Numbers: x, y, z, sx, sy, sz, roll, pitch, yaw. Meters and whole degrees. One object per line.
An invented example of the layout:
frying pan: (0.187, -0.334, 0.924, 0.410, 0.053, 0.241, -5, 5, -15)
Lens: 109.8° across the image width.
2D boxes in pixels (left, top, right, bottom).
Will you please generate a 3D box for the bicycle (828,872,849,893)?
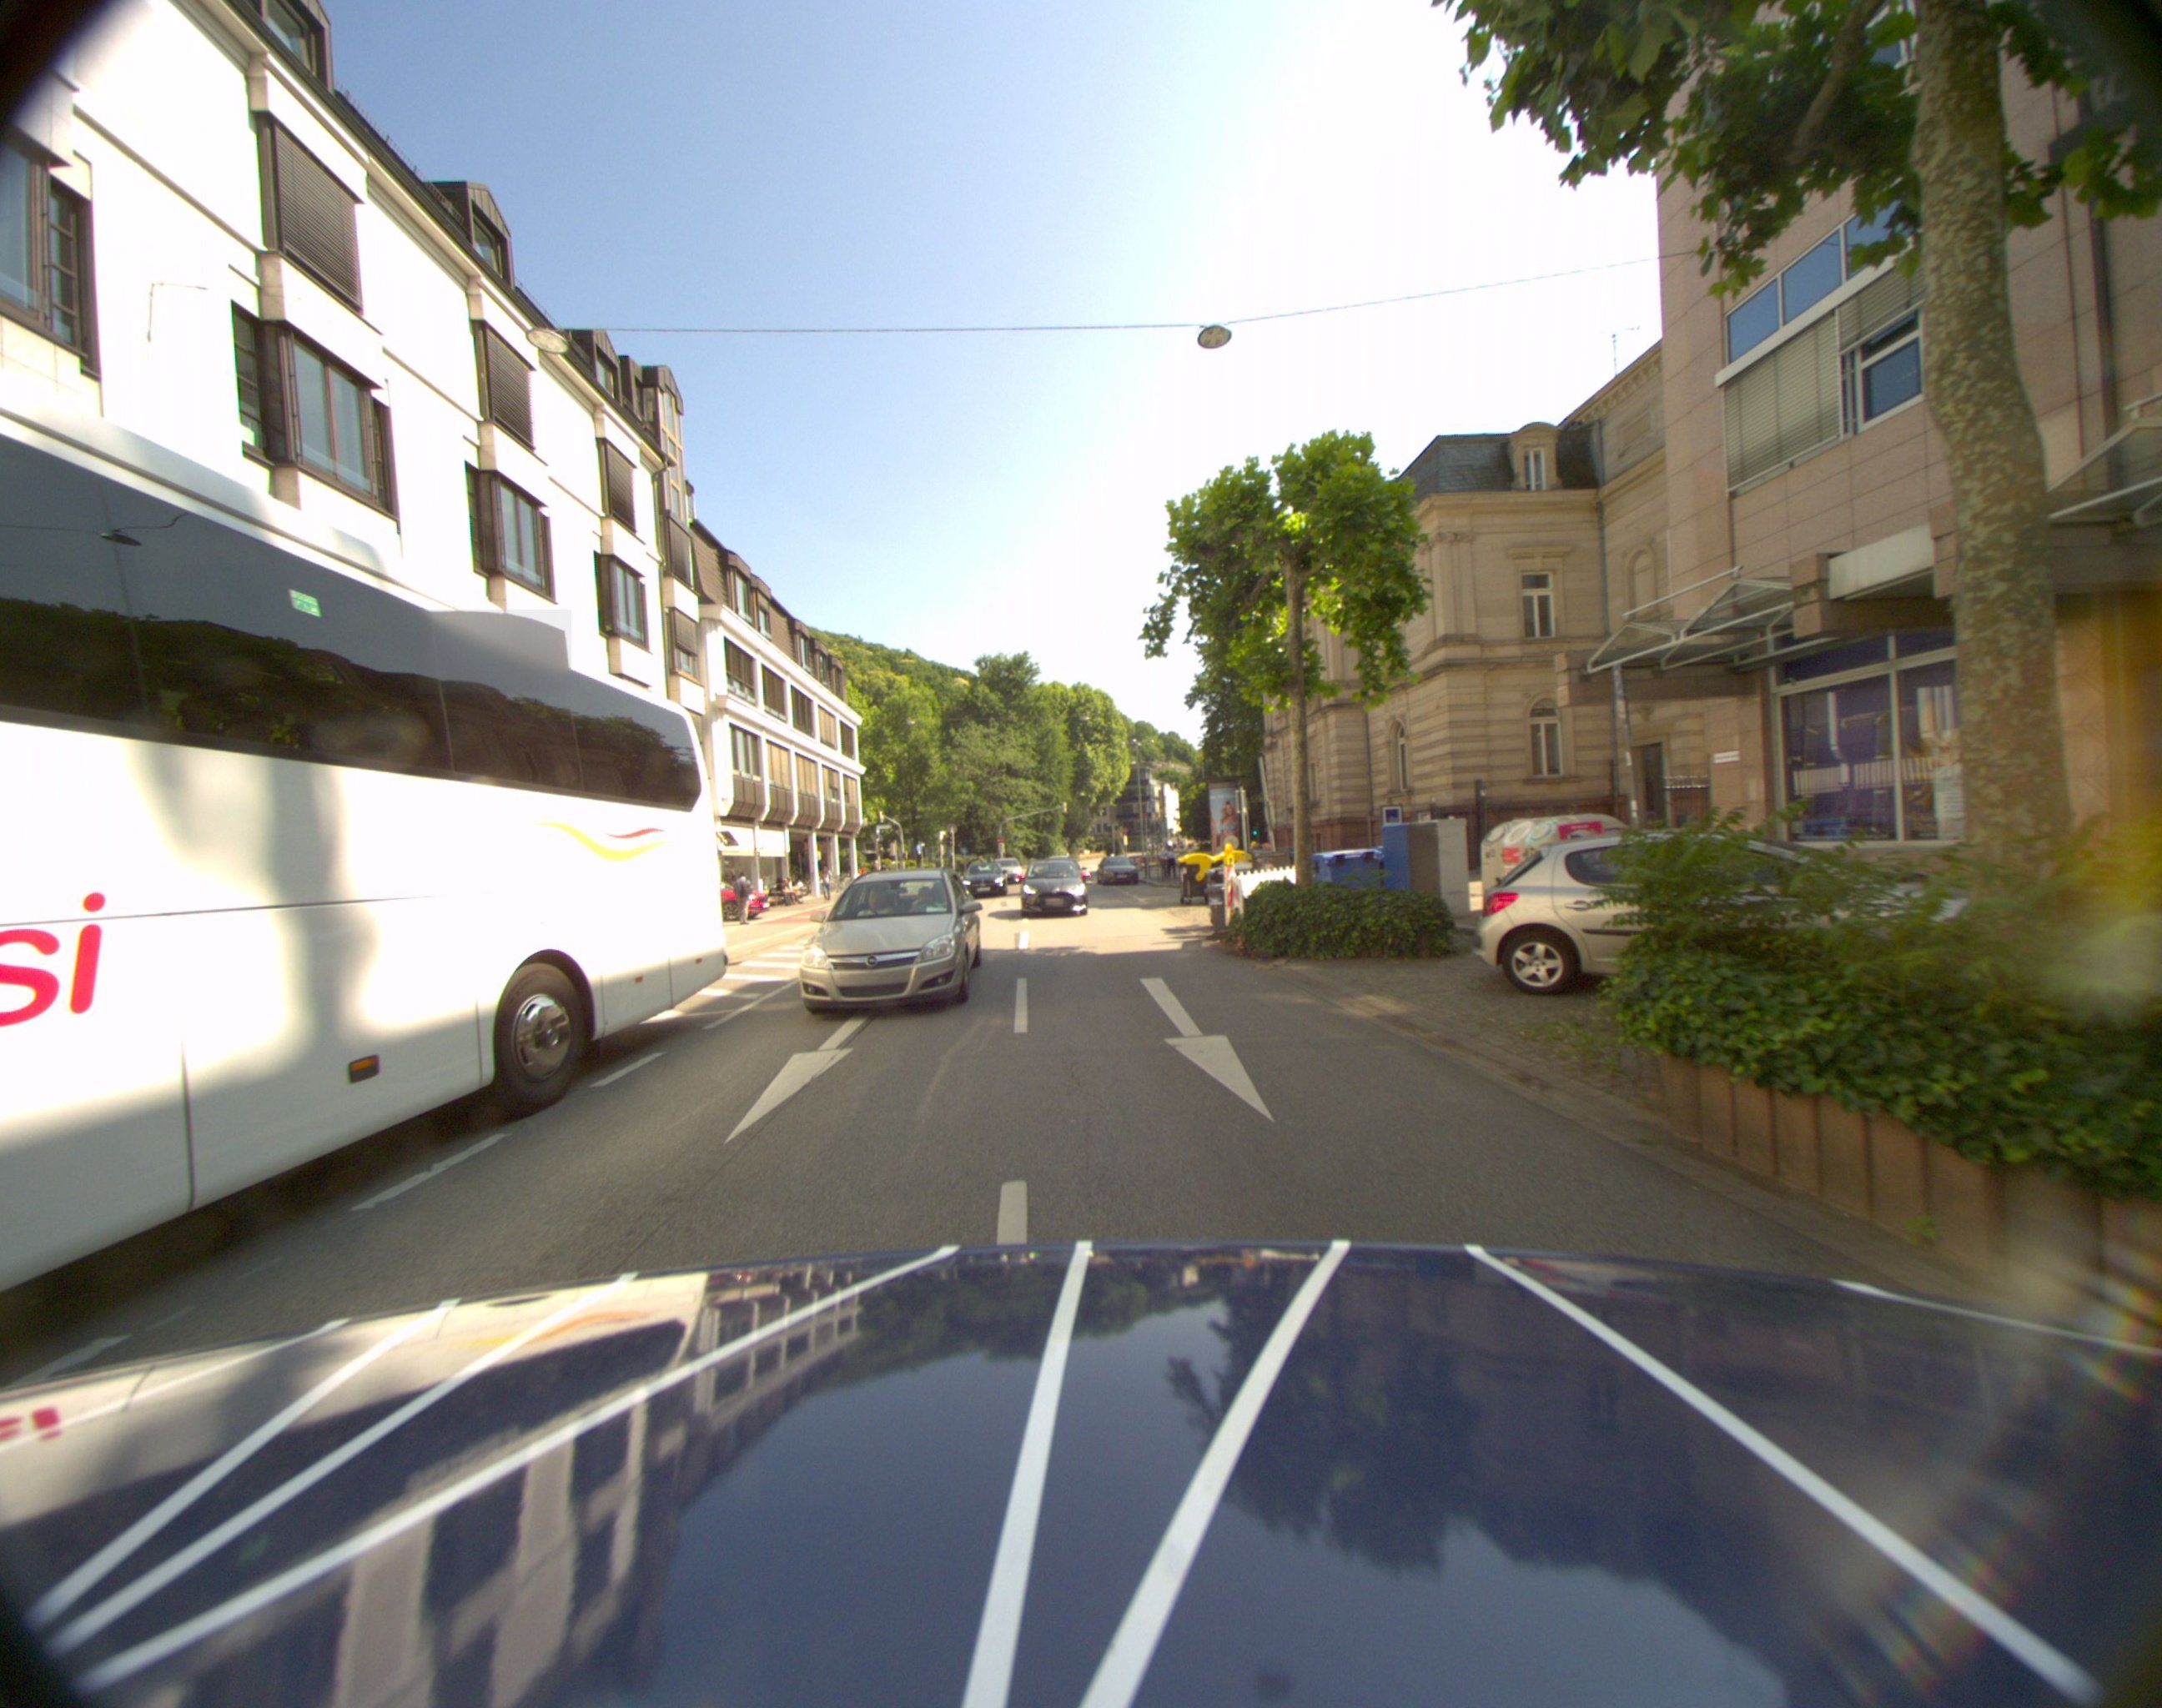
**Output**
bicycle: (-14.440, 1.696, 45.291, 0.277, 1.114, 2.244, -3, 0, 5)

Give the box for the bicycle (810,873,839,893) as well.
bicycle: (-14.806, 1.675, 43.827, 1.574, 1.114, 0.277, -2, 1, 4)

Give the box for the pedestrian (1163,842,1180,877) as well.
pedestrian: (4.482, 0.265, 37.644, 0.696, 1.686, 0.690, -3, 2, -1)

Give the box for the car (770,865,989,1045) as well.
car: (-2.174, 0.988, 9.429, 1.712, 1.513, 4.405, -4, 0, -4)

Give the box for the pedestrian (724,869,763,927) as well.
pedestrian: (-10.370, 1.342, 23.378, 0.696, 1.676, 0.835, -3, 1, 6)

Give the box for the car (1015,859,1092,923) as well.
car: (-0.841, 0.930, 20.840, 1.811, 1.443, 3.951, -3, 1, -6)

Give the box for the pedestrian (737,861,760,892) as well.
pedestrian: (-15.972, 1.074, 36.490, 0.713, 1.389, 0.696, -3, 2, -4)

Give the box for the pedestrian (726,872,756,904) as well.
pedestrian: (-15.947, 1.579, 35.650, 0.898, 1.343, 1.104, -3, 2, -4)

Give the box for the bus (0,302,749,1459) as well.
bus: (-4.893, 0.121, 2.185, 2.890, 3.720, 12.421, -5, 0, -4)

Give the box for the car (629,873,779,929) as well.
car: (-12.673, 1.565, 25.772, 4.055, 1.486, 1.840, -3, 3, -2)

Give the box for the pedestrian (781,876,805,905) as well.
pedestrian: (-12.941, 1.631, 34.185, 0.713, 1.210, 0.697, -3, 2, 5)

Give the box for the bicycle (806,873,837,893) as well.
bicycle: (-15.147, 1.677, 44.337, 1.720, 1.114, 0.277, -2, 1, 4)

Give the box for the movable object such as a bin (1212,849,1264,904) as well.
movable object such as a bin: (4.518, 0.635, 22.009, 1.126, 1.442, 1.439, -5, 0, 3)

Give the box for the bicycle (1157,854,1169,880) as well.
bicycle: (4.029, 0.604, 37.228, 0.430, 1.114, 2.243, -5, 2, 8)

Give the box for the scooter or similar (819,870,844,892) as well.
scooter or similar: (-15.389, 1.662, 46.853, 1.249, 1.225, 0.480, -4, 1, 3)

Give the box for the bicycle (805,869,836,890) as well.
bicycle: (-17.567, 1.748, 51.301, 1.862, 1.309, 0.529, -3, 0, -42)

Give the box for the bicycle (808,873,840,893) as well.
bicycle: (-15.126, 1.685, 44.733, 1.720, 1.114, 0.277, -2, 1, 4)

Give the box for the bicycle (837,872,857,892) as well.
bicycle: (-14.029, 1.662, 45.550, 0.277, 1.114, 2.244, -3, 0, 5)

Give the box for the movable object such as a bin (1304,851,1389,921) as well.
movable object such as a bin: (5.422, 0.646, 15.608, 1.212, 1.292, 1.079, -5, 0, -3)

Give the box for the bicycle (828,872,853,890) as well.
bicycle: (-15.159, 1.722, 47.903, 0.376, 1.059, 1.474, -1, 1, 43)

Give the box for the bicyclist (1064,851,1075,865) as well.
bicyclist: (-1.364, 0.487, 91.623, 0.866, 1.566, 0.945, -2, 3, 30)

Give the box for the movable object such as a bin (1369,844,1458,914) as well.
movable object such as a bin: (6.817, 0.502, 15.640, 1.212, 1.292, 1.127, -5, 0, -3)

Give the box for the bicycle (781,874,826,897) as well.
bicycle: (-15.389, 1.735, 42.140, 2.244, 1.090, 0.277, -4, 1, -16)

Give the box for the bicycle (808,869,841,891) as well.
bicycle: (-17.174, 1.738, 50.949, 1.971, 1.309, 0.529, -3, 0, -42)

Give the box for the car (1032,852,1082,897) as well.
car: (-1.070, 0.805, 32.036, 1.890, 1.674, 4.140, -3, 0, -3)

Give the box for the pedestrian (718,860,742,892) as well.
pedestrian: (-15.928, 0.991, 34.481, 0.713, 1.389, 0.696, -3, 2, -4)

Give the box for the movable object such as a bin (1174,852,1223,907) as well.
movable object such as a bin: (3.392, 0.733, 22.056, 1.126, 1.442, 1.439, -5, 0, 3)

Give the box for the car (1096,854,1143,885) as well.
car: (1.868, 0.746, 37.917, 1.942, 1.346, 4.248, -3, 0, -2)

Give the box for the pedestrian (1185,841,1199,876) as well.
pedestrian: (5.403, 0.192, 37.122, 0.550, 1.656, 0.937, -3, 2, 6)

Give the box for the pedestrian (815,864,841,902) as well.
pedestrian: (-11.510, 1.325, 34.573, 0.834, 1.654, 0.697, -3, 2, 5)

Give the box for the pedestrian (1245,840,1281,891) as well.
pedestrian: (6.374, 0.402, 26.610, 0.892, 1.715, 0.748, -4, 1, -10)

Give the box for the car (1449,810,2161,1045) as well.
car: (5.768, 0.558, 6.795, 4.048, 1.486, 1.939, -5, 0, 38)

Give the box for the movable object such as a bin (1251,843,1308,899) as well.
movable object such as a bin: (5.671, 0.476, 21.832, 1.212, 1.442, 1.364, -5, 0, 3)

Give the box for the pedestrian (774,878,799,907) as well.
pedestrian: (-12.922, 1.677, 33.329, 0.713, 1.166, 0.697, -3, 2, 5)

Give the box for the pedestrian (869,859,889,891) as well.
pedestrian: (-12.126, 1.266, 45.619, 0.834, 1.825, 0.697, -3, 2, 5)

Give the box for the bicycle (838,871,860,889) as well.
bicycle: (-15.016, 1.695, 49.151, 0.308, 1.059, 1.474, -2, 1, 32)

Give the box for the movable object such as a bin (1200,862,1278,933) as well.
movable object such as a bin: (3.167, 0.851, 15.318, 1.280, 1.292, 0.853, -4, 1, -3)

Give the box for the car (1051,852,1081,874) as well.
car: (-1.194, 0.646, 57.673, 1.942, 1.421, 4.547, -3, 1, -4)

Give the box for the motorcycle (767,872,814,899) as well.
motorcycle: (-15.368, 1.667, 40.243, 2.238, 1.283, 0.950, -2, 2, 25)

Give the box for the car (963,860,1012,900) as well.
car: (-3.962, 1.033, 32.013, 1.849, 1.421, 4.209, -3, 1, -8)

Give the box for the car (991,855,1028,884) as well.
car: (-4.197, 0.884, 45.057, 1.942, 1.421, 4.341, -3, 1, -3)

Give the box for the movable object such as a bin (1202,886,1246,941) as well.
movable object such as a bin: (2.588, 1.064, 13.757, 0.556, 0.934, 0.499, -2, 0, -29)

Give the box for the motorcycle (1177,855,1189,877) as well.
motorcycle: (4.978, 0.569, 37.128, 0.454, 0.992, 2.161, -5, 1, 6)

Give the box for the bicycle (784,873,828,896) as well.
bicycle: (-15.459, 1.713, 42.756, 2.243, 1.114, 0.277, -4, 1, -10)
